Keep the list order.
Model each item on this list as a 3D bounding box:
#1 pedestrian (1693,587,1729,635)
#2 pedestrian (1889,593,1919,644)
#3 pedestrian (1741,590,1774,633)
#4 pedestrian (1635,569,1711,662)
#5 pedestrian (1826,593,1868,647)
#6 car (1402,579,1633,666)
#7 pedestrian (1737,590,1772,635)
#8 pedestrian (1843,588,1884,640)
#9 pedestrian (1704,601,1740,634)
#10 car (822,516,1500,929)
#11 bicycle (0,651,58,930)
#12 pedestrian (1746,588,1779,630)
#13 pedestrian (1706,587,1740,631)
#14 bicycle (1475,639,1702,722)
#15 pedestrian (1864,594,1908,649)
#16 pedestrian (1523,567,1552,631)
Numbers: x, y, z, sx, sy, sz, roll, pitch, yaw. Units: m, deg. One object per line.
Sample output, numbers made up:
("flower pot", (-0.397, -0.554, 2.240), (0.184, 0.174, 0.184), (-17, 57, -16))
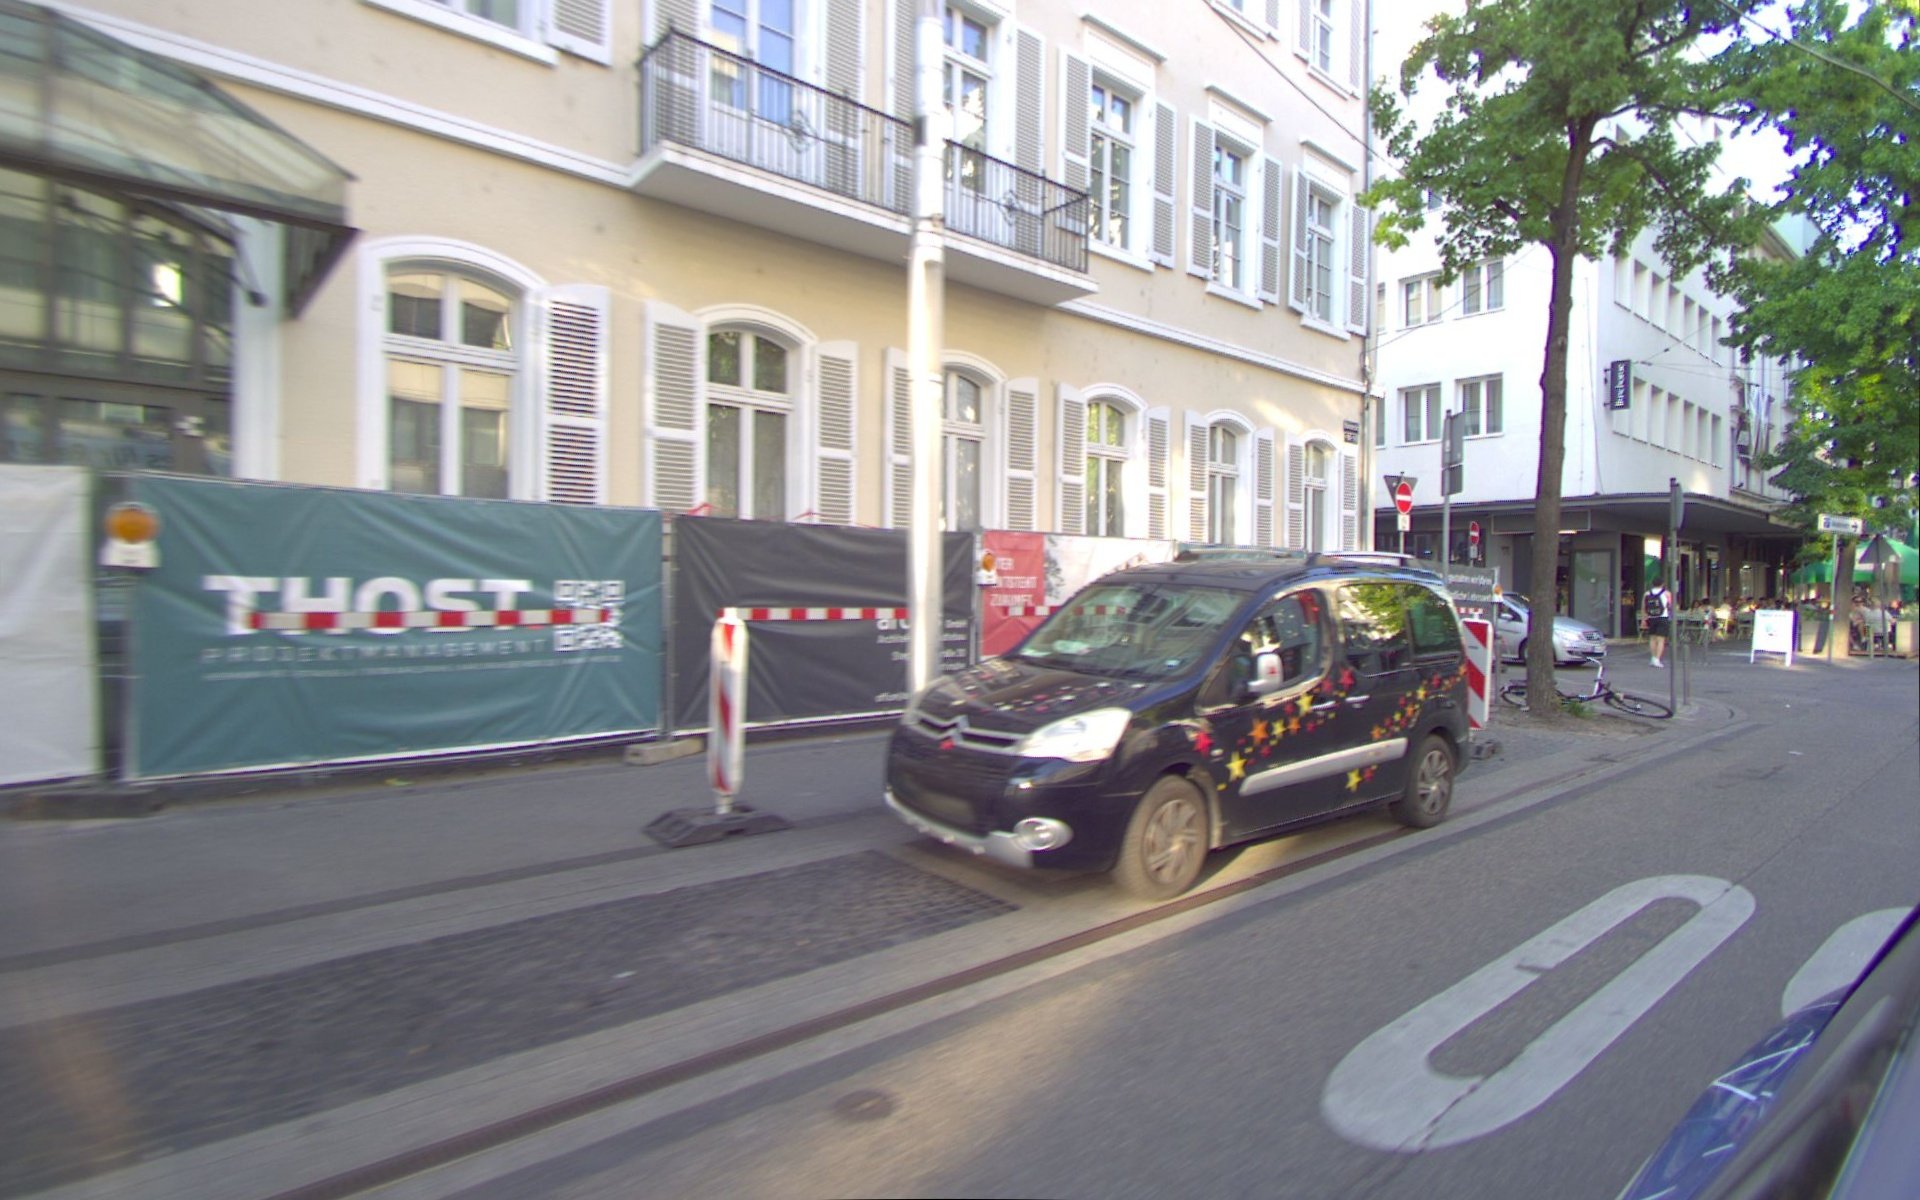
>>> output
("pedestrian", (21.796, 0.313, 29.373), (0.613, 1.346, 0.716), (0, 0, -39))
("pedestrian", (25.616, 0.481, 27.305), (0.613, 1.346, 0.716), (0, 0, -39))
("pedestrian", (25.594, 0.358, 32.486), (0.613, 1.346, 0.716), (0, 0, -39))
("pedestrian", (14.829, 0.296, 21.052), (1.050, 1.837, 0.946), (-2, 1, -33))
("pedestrian", (22.687, 0.510, 25.884), (0.613, 1.346, 0.716), (0, 0, -39))
("car", (11.794, 0.390, 21.633), (1.831, 1.628, 3.944), (-2, 2, -33))
("pedestrian", (24.233, 0.367, 30.857), (0.613, 1.346, 0.716), (0, 0, -39))
("pedestrian", (23.629, 0.351, 26.472), (0.613, 1.346, 0.716), (0, 0, -39))
("pedestrian", (22.682, 0.513, 30.131), (0.613, 0.944, 0.716), (0, 0, -39))
("car", (1.458, 0.479, 6.514), (4.236, 1.815, 1.958), (0, 3, -38))
("bicycle", (-4.503, 0.796, 3.718), (0.650, 1.084, 1.657), (3, 2, 30))
("pedestrian", (26.297, 0.296, 33.159), (0.613, 1.346, 0.716), (0, 0, -39))
("pedestrian", (23.717, 0.272, 31.464), (0.613, 1.346, 0.716), (0, 0, -39))
("bicycle", (7.567, 0.927, 12.274), (1.531, 0.757, 1.761), (0, 2, -23))
("pedestrian", (23.140, 0.523, 25.293), (0.613, 1.346, 0.716), (0, 0, -39))
("pedestrian", (16.376, -0.040, 28.720), (0.617, 1.788, 0.711), (1, 0, 24))
